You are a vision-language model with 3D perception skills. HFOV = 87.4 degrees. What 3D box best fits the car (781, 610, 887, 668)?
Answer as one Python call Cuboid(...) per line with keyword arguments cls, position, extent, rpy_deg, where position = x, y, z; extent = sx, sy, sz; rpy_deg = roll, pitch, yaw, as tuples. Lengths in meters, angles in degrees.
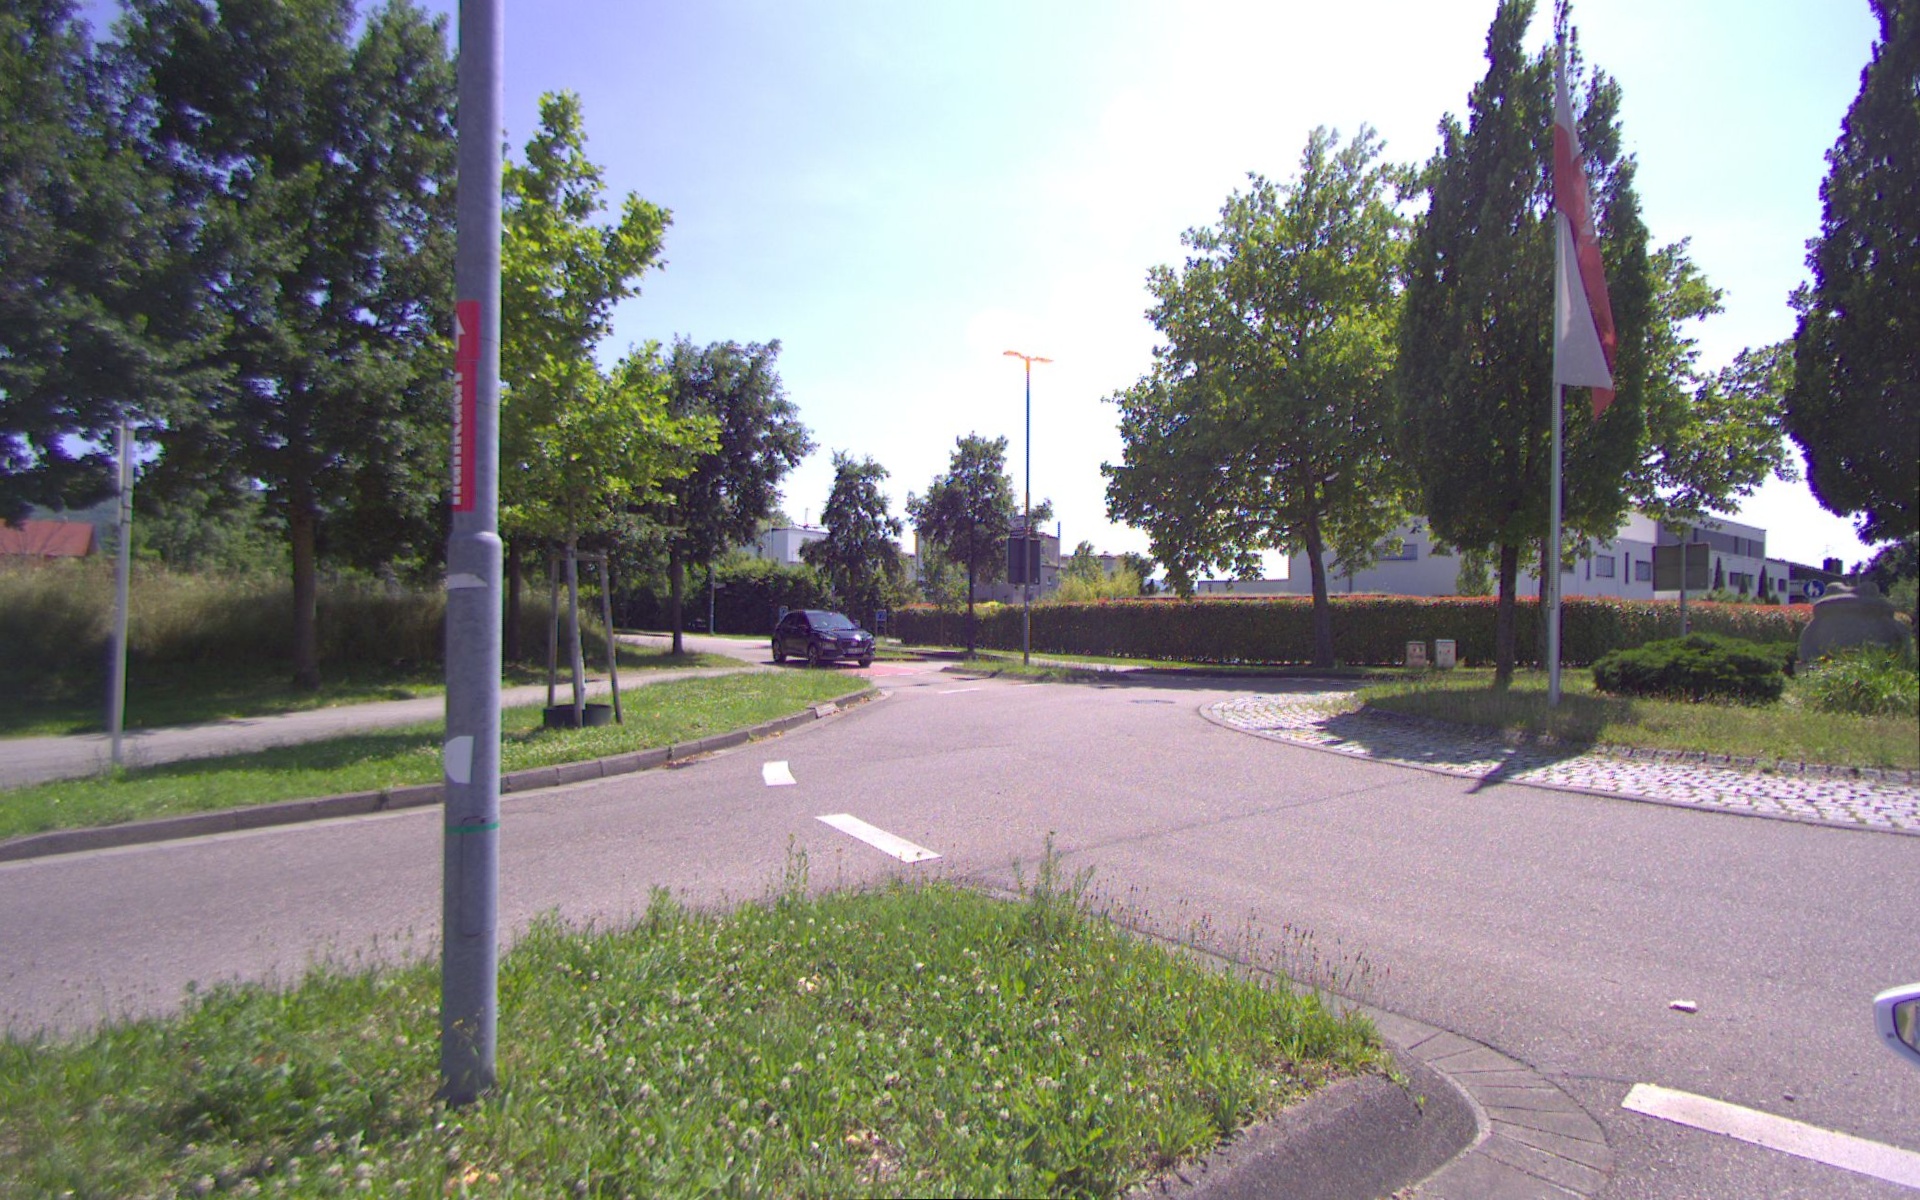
Cuboid(cls="car", position=(-3.813, 1.110, 29.704), extent=(1.841, 1.589, 4.459), rpy_deg=(1, -1, -25))
